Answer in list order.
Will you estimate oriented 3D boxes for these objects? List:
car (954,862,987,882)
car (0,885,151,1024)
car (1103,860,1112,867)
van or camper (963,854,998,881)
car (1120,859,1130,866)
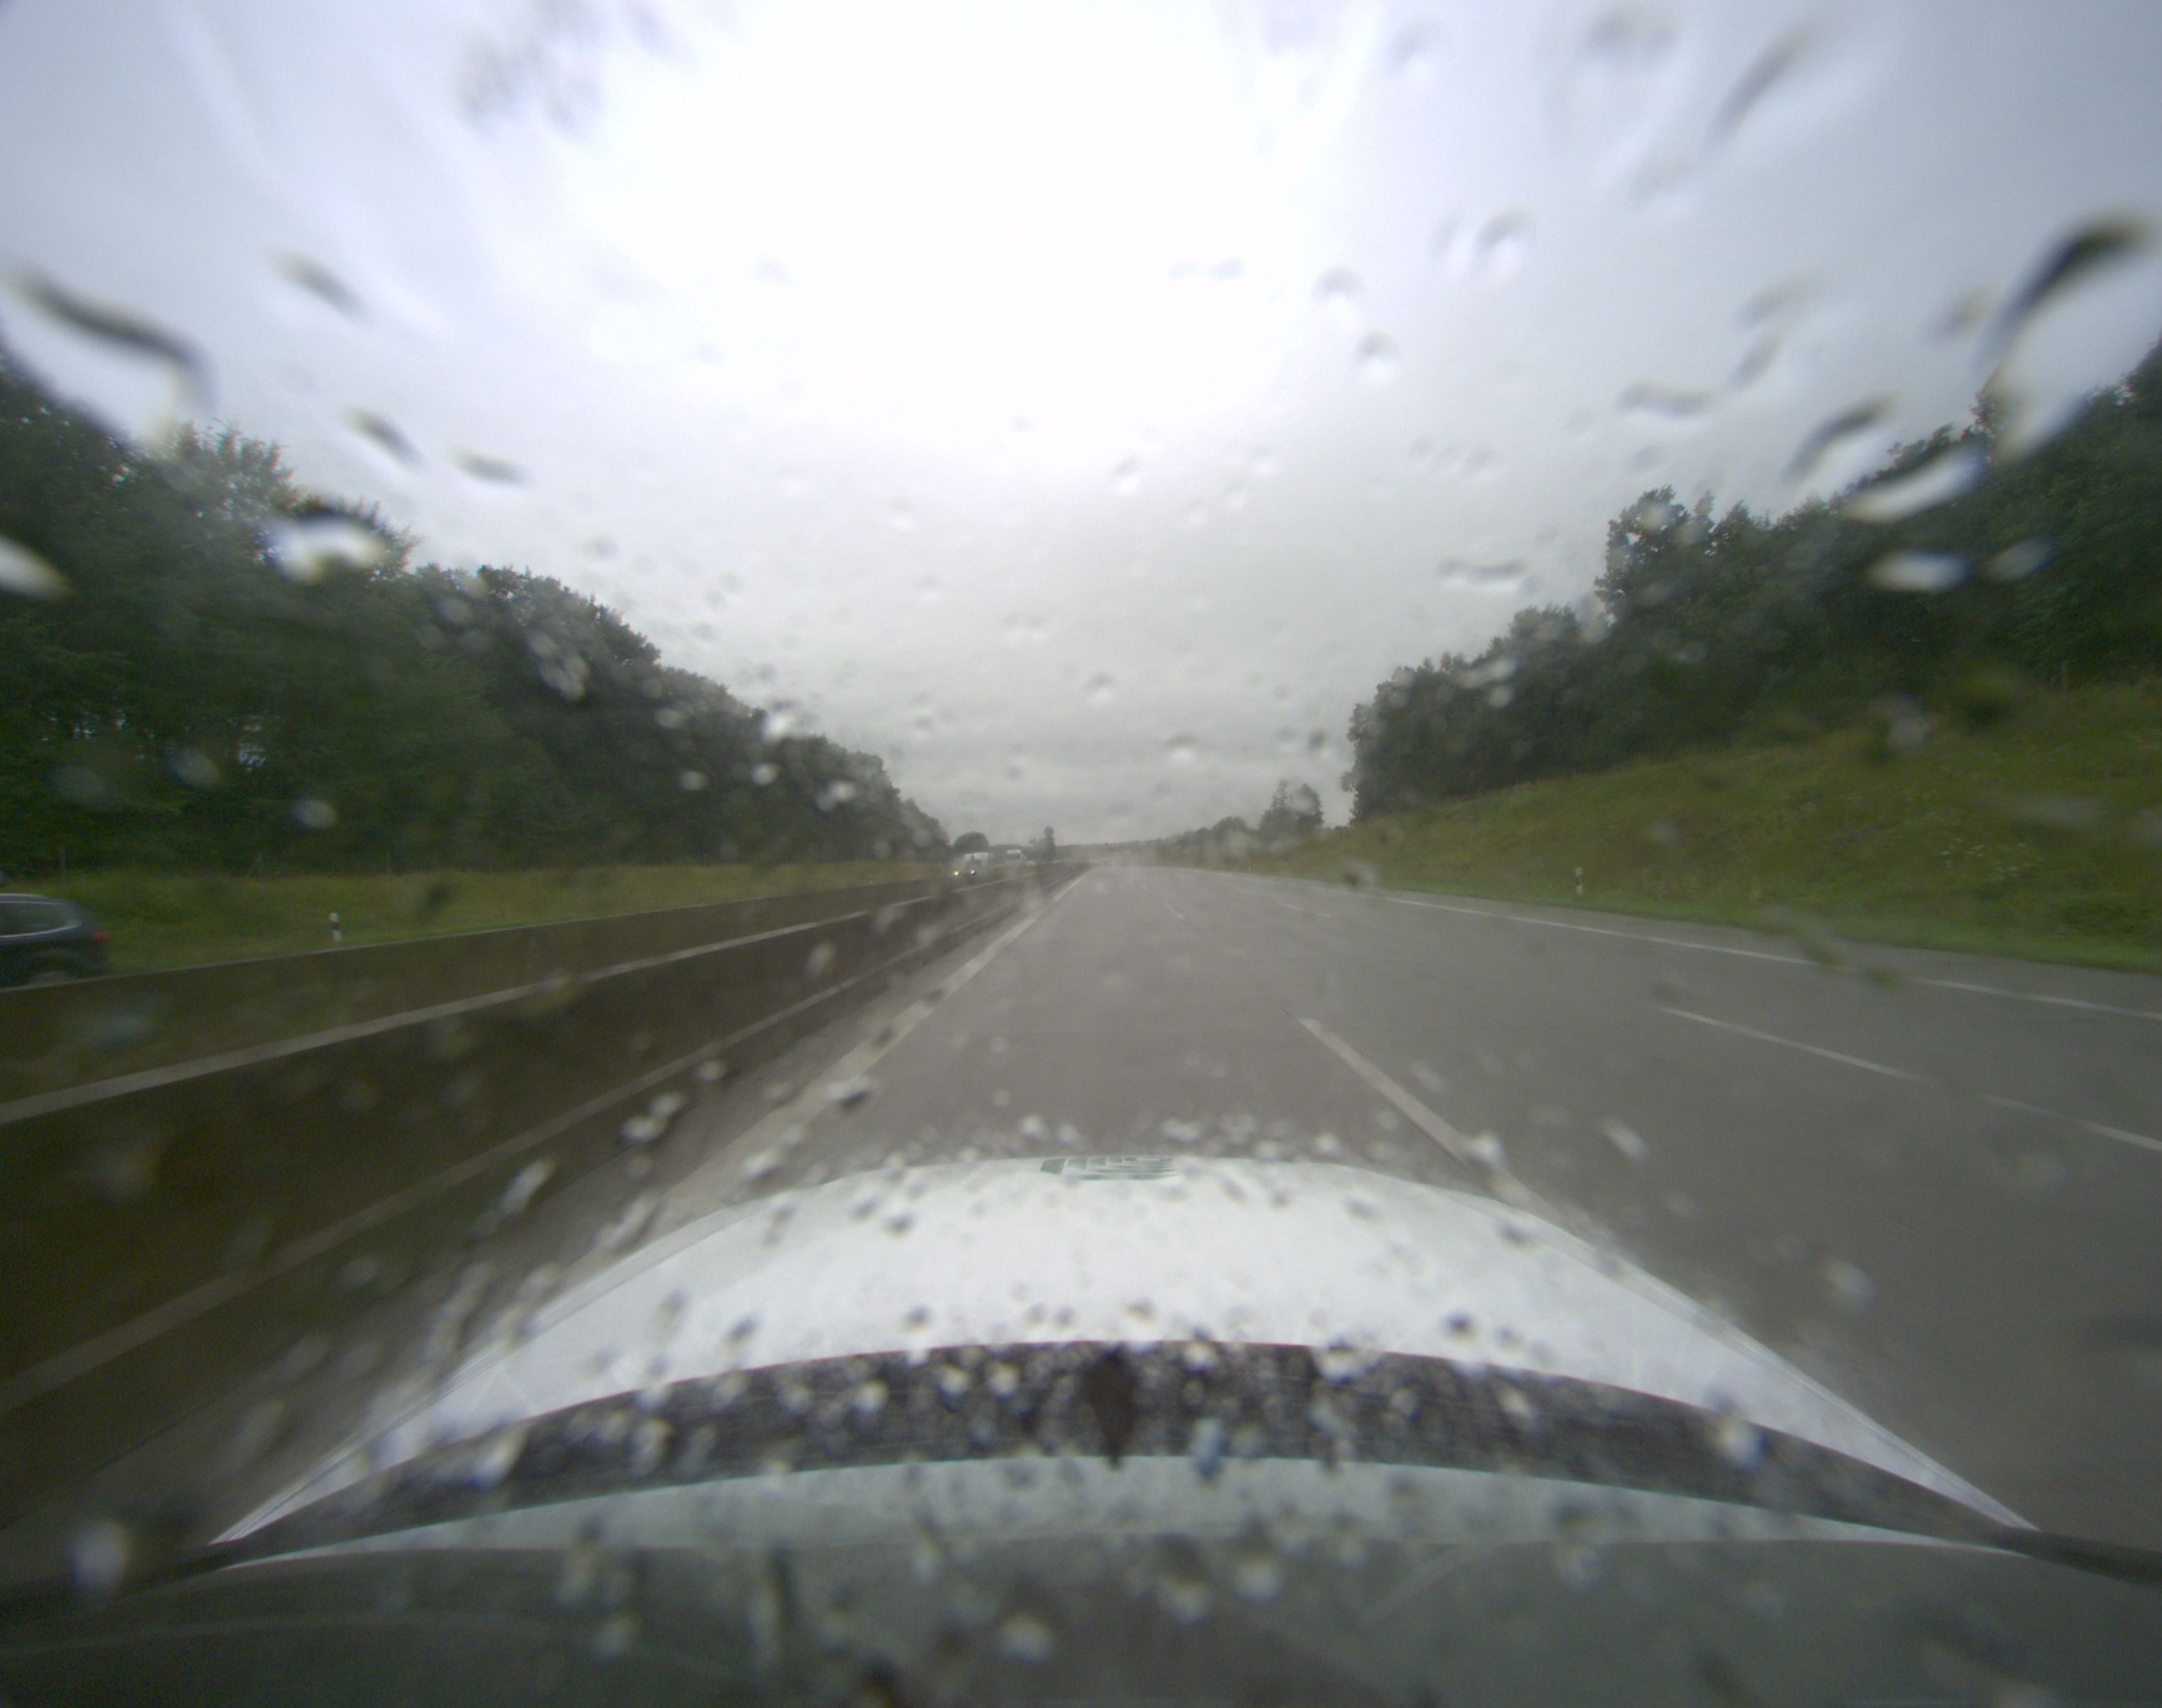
[{"bbox_3d":[-9.898,1.601,73.380,1.986,1.644,5.410,-3,-1,1],"label":"car"},{"bbox_3d":[-15.637,1.421,10.304,2.053,1.802,4.853,-2,0,1],"label":"car"},{"bbox_3d":[5.757,1.967,176.396,1.722,1.331,4.432,-1,1,2],"label":"car"},{"bbox_3d":[-9.724,1.257,79.072,2.492,2.429,5.920,-2,-1,1],"label":"van or camper"},{"bbox_3d":[9.443,1.826,174.646,1.841,1.331,4.431,-1,1,1],"label":"car"}]
